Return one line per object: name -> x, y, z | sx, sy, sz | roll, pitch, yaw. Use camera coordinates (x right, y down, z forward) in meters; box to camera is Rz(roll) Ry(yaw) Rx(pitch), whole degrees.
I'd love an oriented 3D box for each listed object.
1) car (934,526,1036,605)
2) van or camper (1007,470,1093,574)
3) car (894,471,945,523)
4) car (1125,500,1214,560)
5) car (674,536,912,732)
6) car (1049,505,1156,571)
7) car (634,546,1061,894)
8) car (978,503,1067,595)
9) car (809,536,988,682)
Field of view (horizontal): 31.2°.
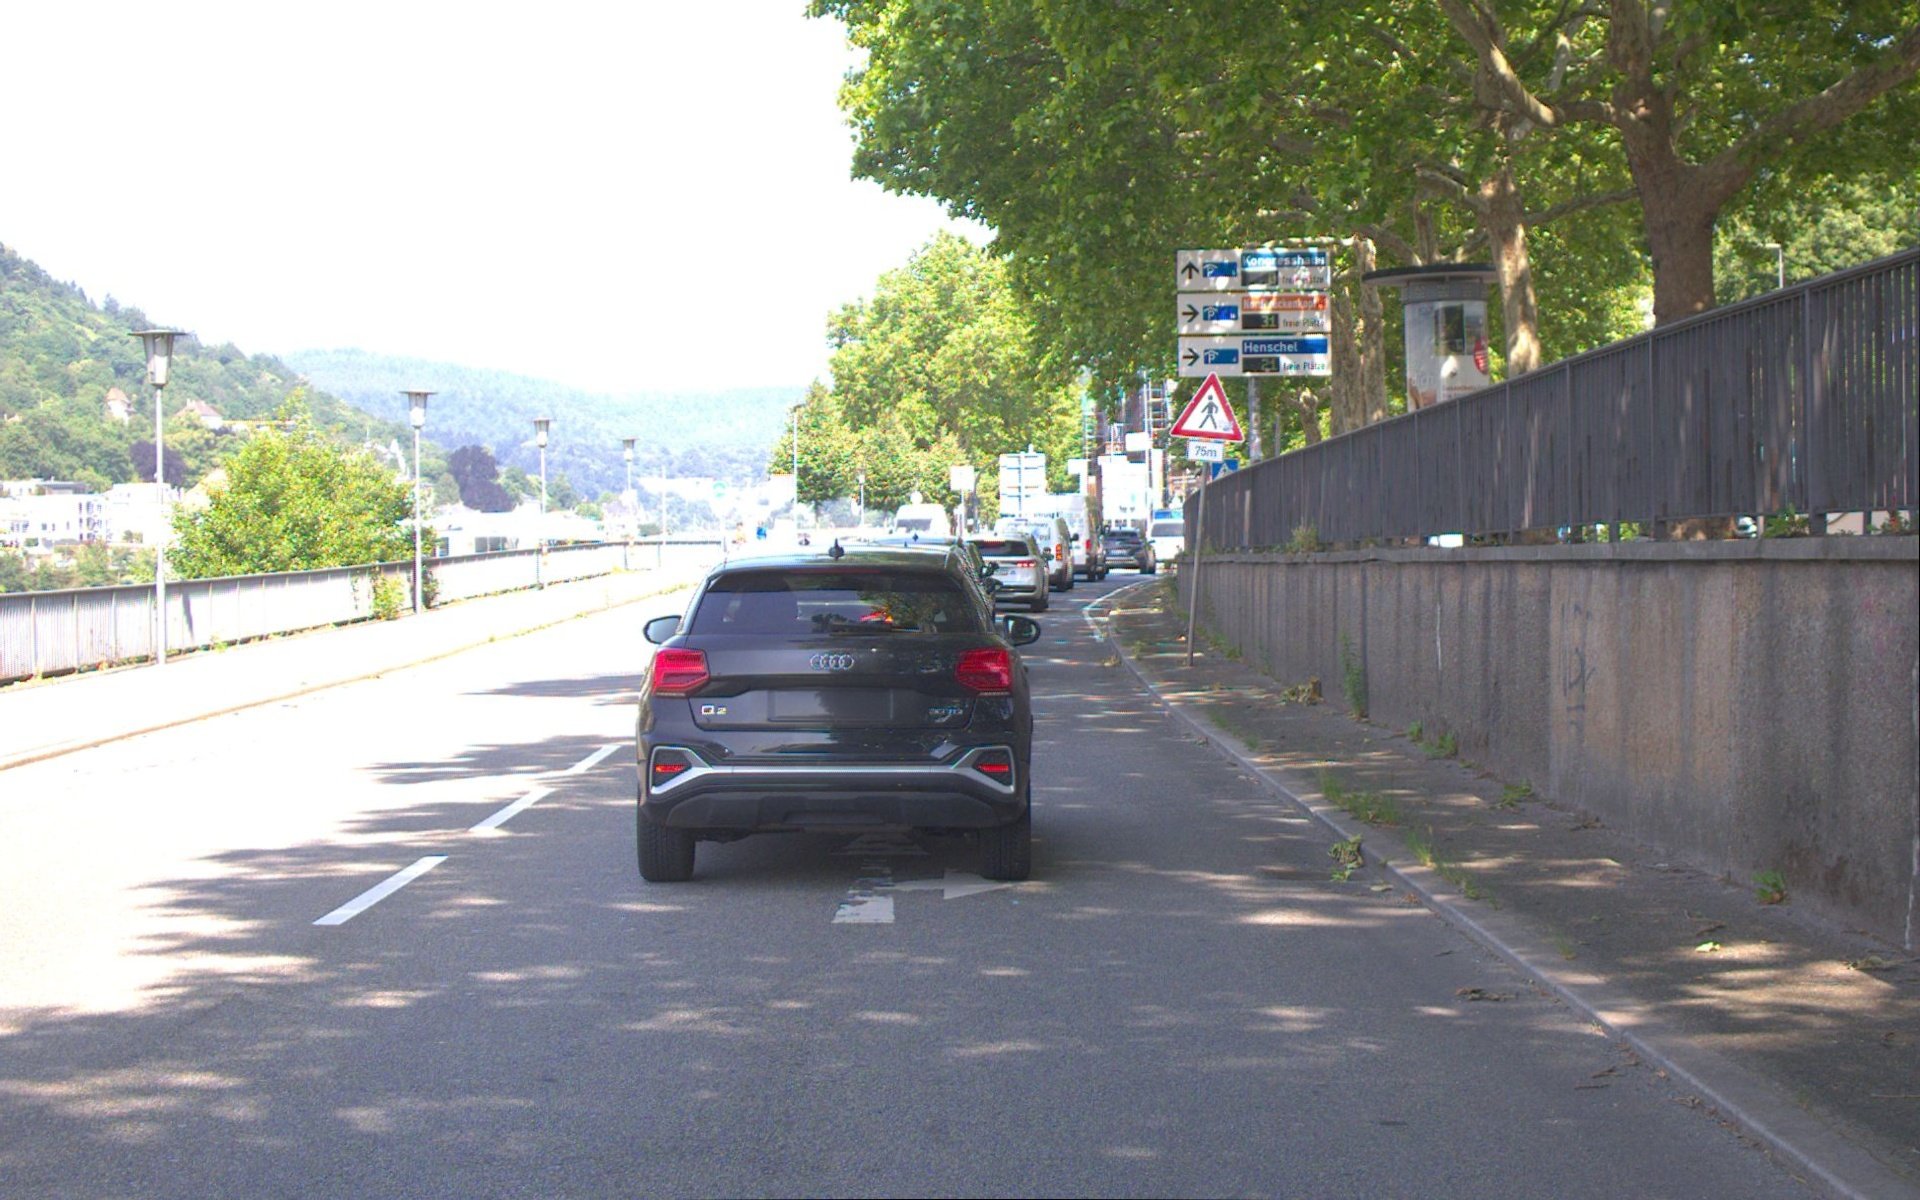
car -> 0.451, -0.673, 65.201 | 1.828, 1.439, 4.000 | 0, 1, -1
van or camper -> 2.581, -2.240, 99.216 | 2.310, 2.837, 4.245 | -2, 1, 1
car -> -1.706, -4.265, 143.283 | 1.993, 2.007, 4.000 | -3, 1, -1
car -> 7.632, -2.566, 125.835 | 2.661, 2.007, 5.825 | -3, 1, -1
car -> -1.325, 0.228, 28.550 | 1.828, 1.506, 4.000 | 0, 1, -1
car -> 4.682, -2.044, 113.991 | 3.098, 2.007, 5.825 | -2, 1, -1
car -> -0.520, 0.484, 16.740 | 1.828, 1.481, 4.000 | 0, 1, -1
car -> 1.536, -1.277, 86.138 | 1.993, 2.162, 4.000 | -2, 1, -1
car -> -0.667, 0.056, 37.183 | 1.828, 1.481, 4.000 | 0, 1, -1
